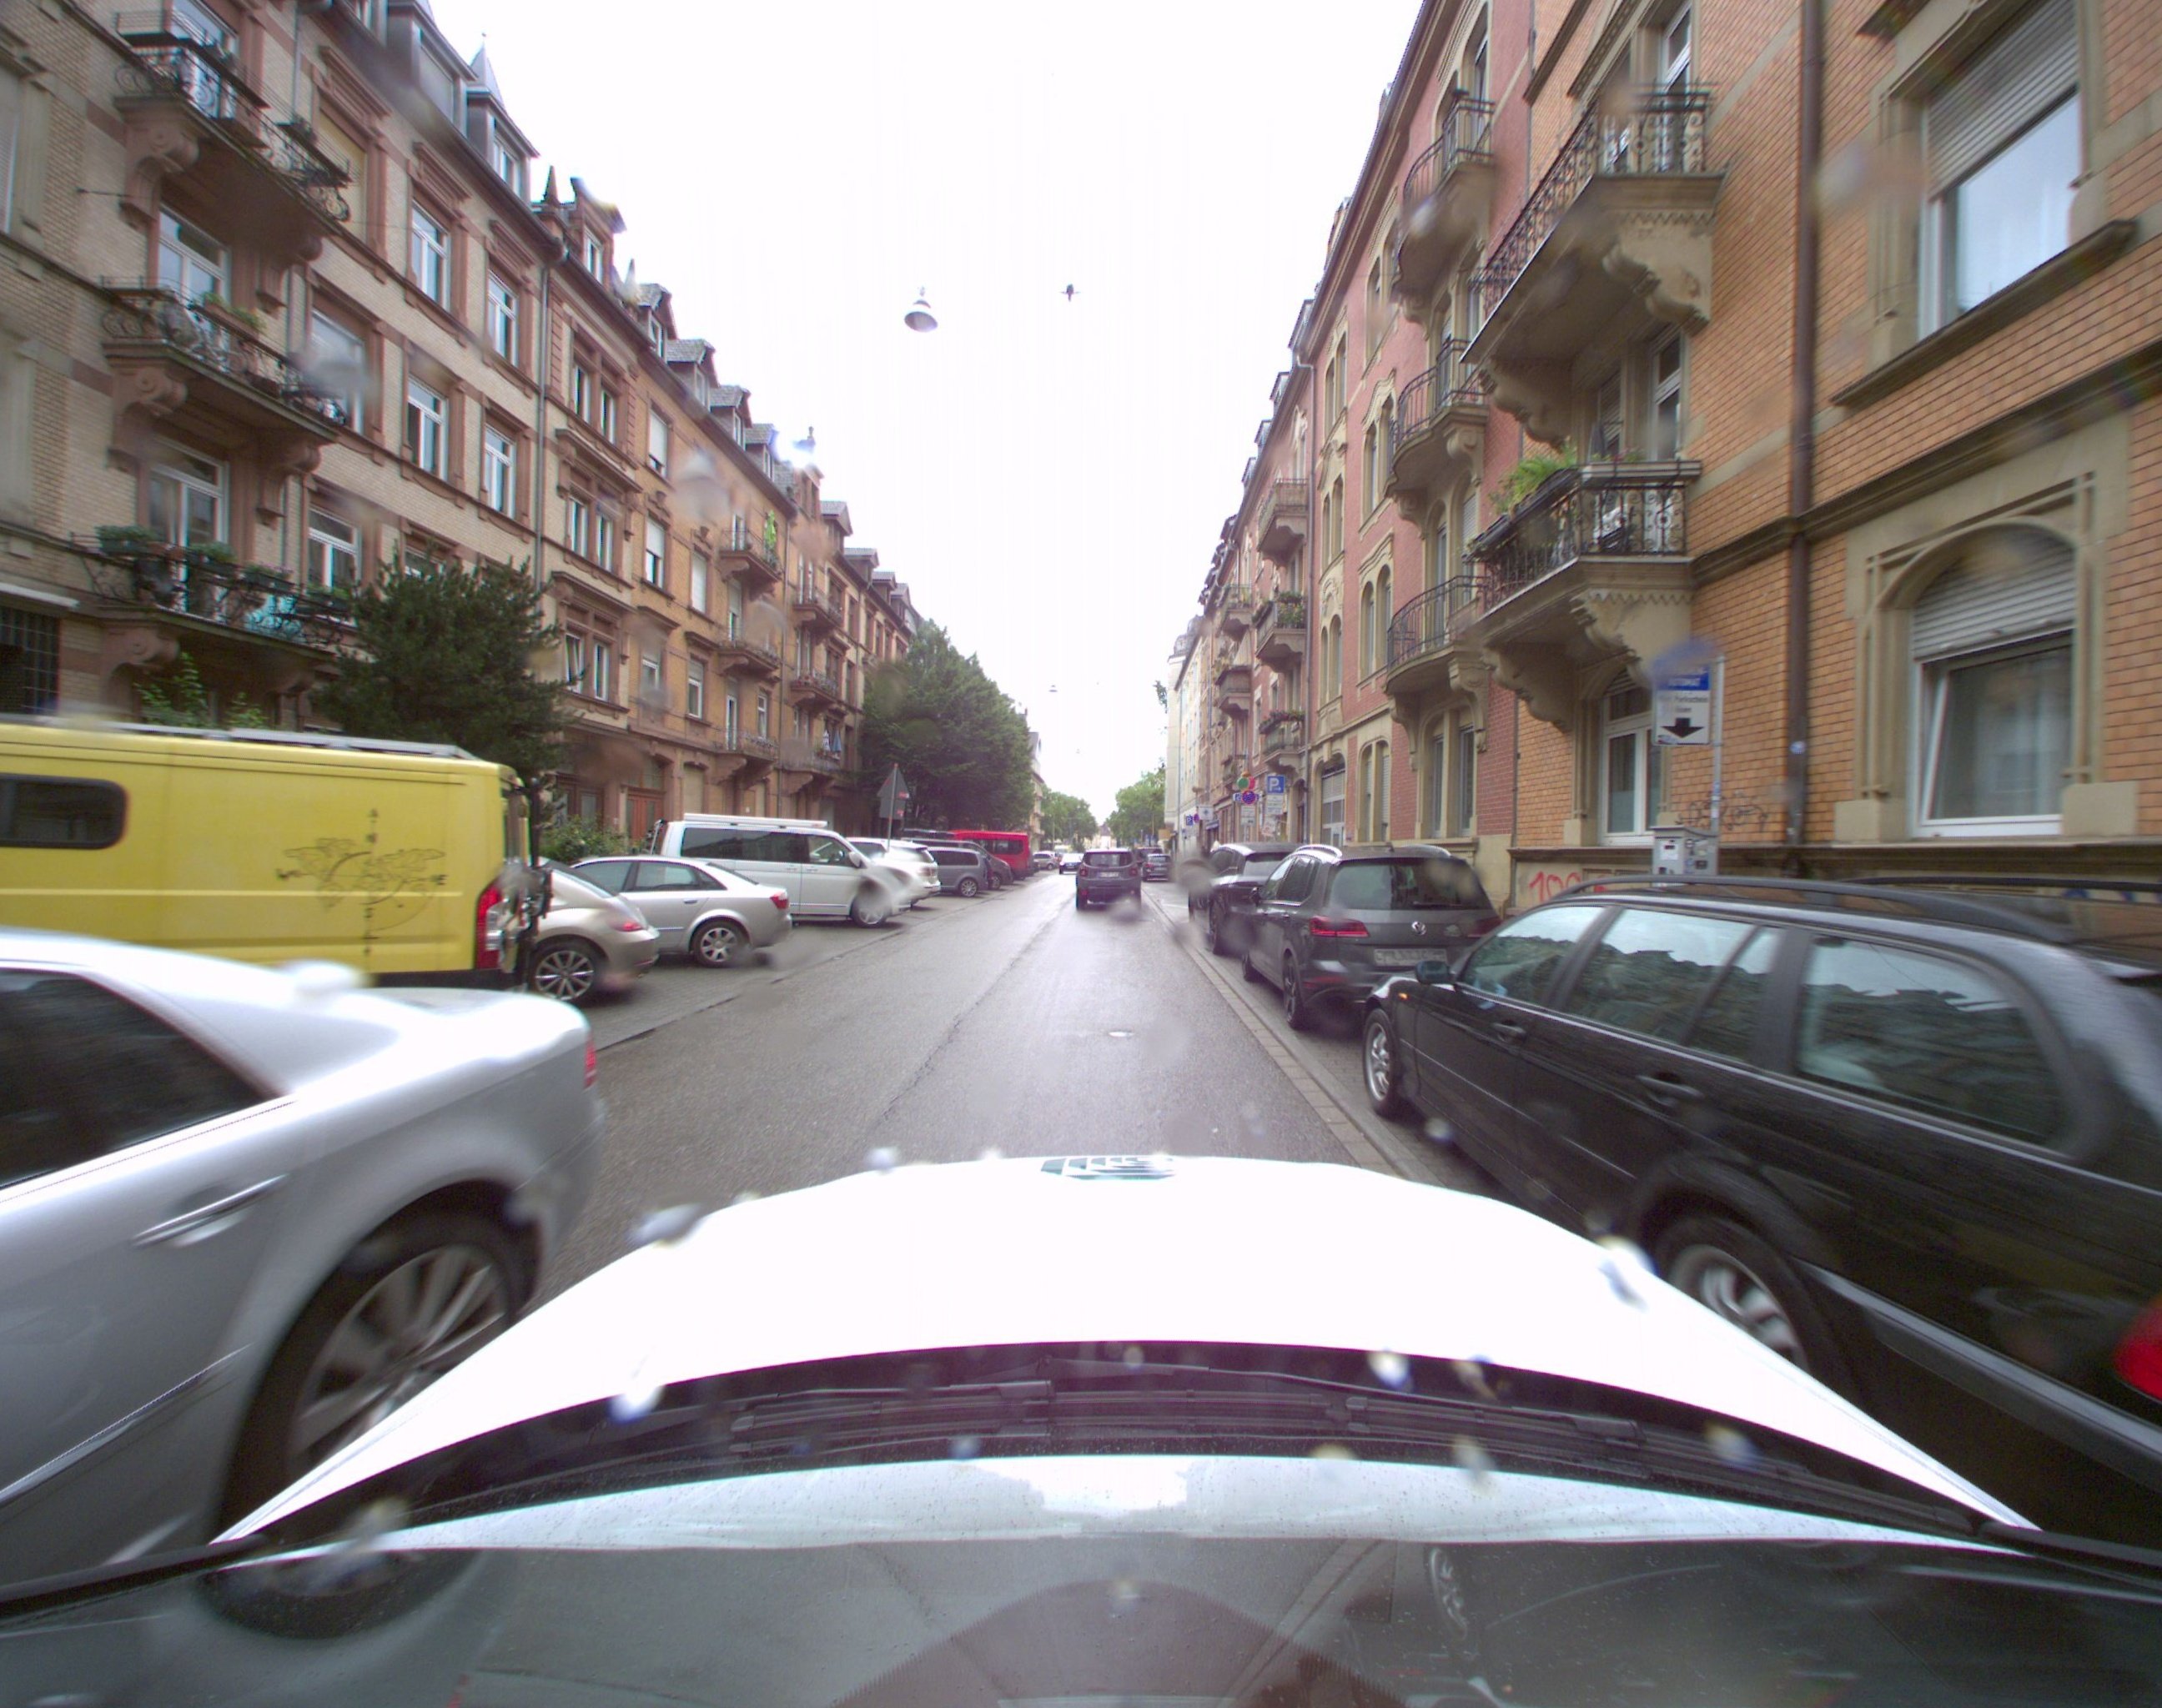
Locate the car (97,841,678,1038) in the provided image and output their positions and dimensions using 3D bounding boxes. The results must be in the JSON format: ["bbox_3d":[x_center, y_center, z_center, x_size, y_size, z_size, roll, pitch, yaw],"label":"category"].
[{"bbox_3d":[-6.205,0.682,8.006,3.929,1.495,1.945,1,0,-29],"label":"car"}]

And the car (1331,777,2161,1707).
[{"bbox_3d":[2.474,0.710,3.259,1.780,1.467,4.486,1,-2,3],"label":"car"}]

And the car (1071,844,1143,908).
[{"bbox_3d":[0.737,0.584,23.697,1.892,1.671,4.506,0,0,1],"label":"car"}]

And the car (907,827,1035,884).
[{"bbox_3d":[-5.200,0.079,38.655,5.583,2.541,2.210,1,0,-26],"label":"car"}]

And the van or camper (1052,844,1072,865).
[{"bbox_3d":[-2.437,0.117,106.056,2.113,2.531,6.876,-3,-2,2],"label":"van or camper"}]

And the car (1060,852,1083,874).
[{"bbox_3d":[-0.685,0.676,61.178,1.664,1.559,4.002,1,0,0],"label":"car"}]

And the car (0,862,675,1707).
[{"bbox_3d":[-2.453,0.785,0.684,1.788,1.494,4.585,0,0,2],"label":"car"}]

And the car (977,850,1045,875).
[{"bbox_3d":[-4.490,0.577,52.597,3.998,1.447,1.748,2,0,-38],"label":"car"}]

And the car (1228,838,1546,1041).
[{"bbox_3d":[2.759,0.661,8.483,1.864,1.561,4.348,0,0,3],"label":"car"}]

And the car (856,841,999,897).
[{"bbox_3d":[-5.274,0.522,27.946,4.451,1.630,1.830,4,0,-25],"label":"car"}]

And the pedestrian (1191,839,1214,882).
[{"bbox_3d":[5.775,0.325,38.689,0.672,1.936,0.814,-1,-11,37],"label":"pedestrian"}]

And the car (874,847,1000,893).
[{"bbox_3d":[-5.388,0.585,30.402,4.358,1.504,1.743,3,0,-21],"label":"car"}]

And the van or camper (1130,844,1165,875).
[{"bbox_3d":[4.272,0.341,53.152,2.014,1.891,5.057,0,0,2],"label":"van or camper"}]

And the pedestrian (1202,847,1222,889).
[{"bbox_3d":[5.119,0.552,31.854,0.676,1.613,0.810,0,0,2],"label":"pedestrian"}]

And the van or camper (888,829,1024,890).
[{"bbox_3d":[-5.131,0.253,33.371,5.032,2.349,2.326,1,0,-25],"label":"van or camper"}]

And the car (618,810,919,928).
[{"bbox_3d":[-6.058,0.331,16.249,5.258,2.078,1.856,1,-1,-23],"label":"car"}]

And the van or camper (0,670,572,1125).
[{"bbox_3d":[-5.988,0.180,4.953,4.741,2.268,2.164,3,0,-31],"label":"van or camper"}]

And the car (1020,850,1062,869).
[{"bbox_3d":[-3.576,0.455,72.272,3.397,1.654,1.618,0,0,-31],"label":"car"}]

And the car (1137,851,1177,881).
[{"bbox_3d":[4.012,0.616,43.711,1.834,1.545,4.004,0,0,1],"label":"car"}]

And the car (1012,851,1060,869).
[{"bbox_3d":[-3.820,0.511,69.395,3.728,1.452,1.668,0,0,-34],"label":"car"}]

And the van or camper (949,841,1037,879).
[{"bbox_3d":[-4.854,0.337,44.950,4.463,1.975,1.764,1,0,-32],"label":"van or camper"}]

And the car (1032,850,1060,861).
[{"bbox_3d":[-5.213,0.265,121.886,3.679,1.558,1.780,2,-1,-34],"label":"car"}]

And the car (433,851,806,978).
[{"bbox_3d":[-5.910,0.718,10.901,4.008,1.436,1.769,1,0,-27],"label":"car"}]

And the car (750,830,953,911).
[{"bbox_3d":[-5.965,0.413,21.732,4.562,1.785,2.546,3,0,1],"label":"car"}]

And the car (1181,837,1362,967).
[{"bbox_3d":[2.911,0.665,13.611,1.986,1.779,4.827,0,0,1],"label":"car"}]

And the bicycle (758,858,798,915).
[{"bbox_3d":[-6.876,0.712,18.411,0.545,1.175,2.026,1,0,-28],"label":"bicycle"}]
